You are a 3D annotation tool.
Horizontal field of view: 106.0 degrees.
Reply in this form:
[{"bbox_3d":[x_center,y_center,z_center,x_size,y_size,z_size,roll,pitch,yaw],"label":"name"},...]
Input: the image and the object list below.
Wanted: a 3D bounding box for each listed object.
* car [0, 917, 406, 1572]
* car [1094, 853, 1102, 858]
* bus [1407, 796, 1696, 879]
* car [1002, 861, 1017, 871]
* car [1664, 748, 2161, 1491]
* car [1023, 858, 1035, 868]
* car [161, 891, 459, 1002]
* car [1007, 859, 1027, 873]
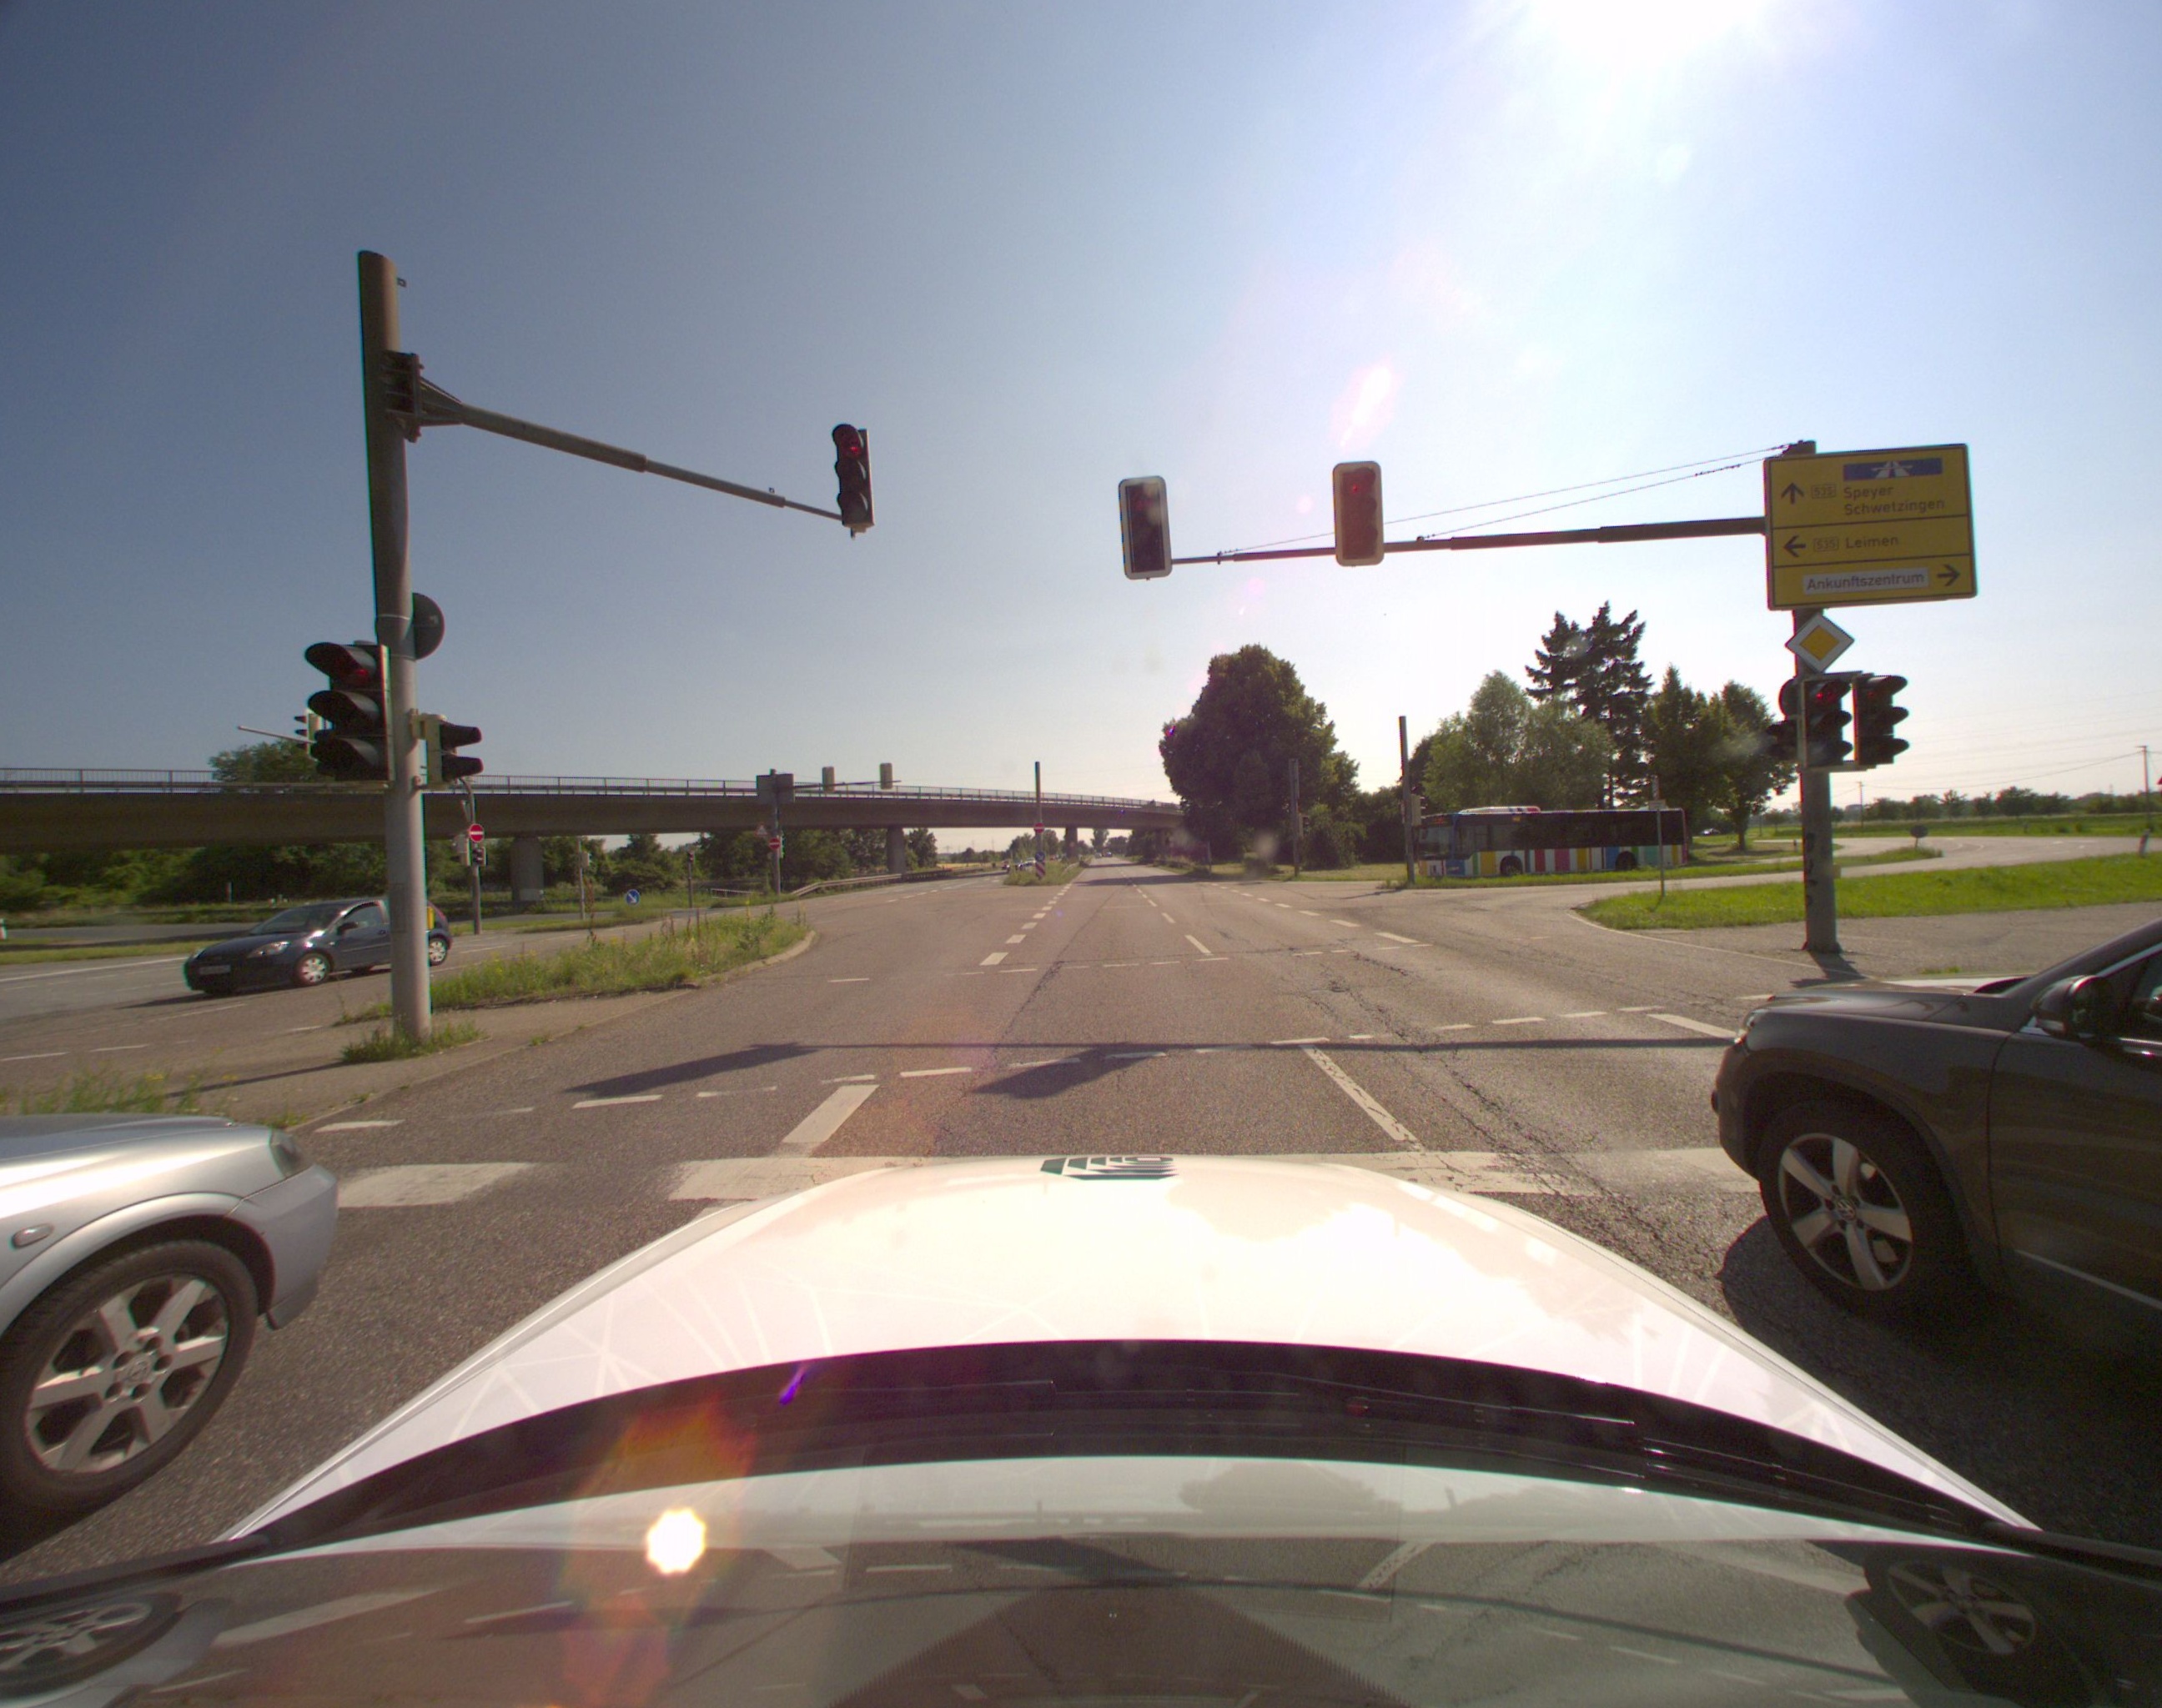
[{"bbox_3d":[-3.232,0.923,0.735,1.667,1.335,4.100,-3,0,2],"label":"car"},{"bbox_3d":[5.012,0.448,239.898,1.843,1.460,4.003,-5,0,3],"label":"car"},{"bbox_3d":[20.225,-0.722,35.006,11.954,2.877,2.928,-3,0,-14],"label":"bus"},{"bbox_3d":[-10.512,1.711,120.340,1.634,1.385,4.241,-3,0,1],"label":"car"},{"bbox_3d":[3.268,0.583,1.305,1.749,1.655,4.147,-1,0,1],"label":"car"},{"bbox_3d":[-9.214,1.597,144.087,1.784,1.628,4.000,-3,0,1],"label":"car"},{"bbox_3d":[-13.558,1.543,14.686,1.608,1.442,3.777,-5,0,2],"label":"car"},{"bbox_3d":[-7.666,1.406,98.287,1.850,1.448,4.241,-5,0,1],"label":"car"}]
